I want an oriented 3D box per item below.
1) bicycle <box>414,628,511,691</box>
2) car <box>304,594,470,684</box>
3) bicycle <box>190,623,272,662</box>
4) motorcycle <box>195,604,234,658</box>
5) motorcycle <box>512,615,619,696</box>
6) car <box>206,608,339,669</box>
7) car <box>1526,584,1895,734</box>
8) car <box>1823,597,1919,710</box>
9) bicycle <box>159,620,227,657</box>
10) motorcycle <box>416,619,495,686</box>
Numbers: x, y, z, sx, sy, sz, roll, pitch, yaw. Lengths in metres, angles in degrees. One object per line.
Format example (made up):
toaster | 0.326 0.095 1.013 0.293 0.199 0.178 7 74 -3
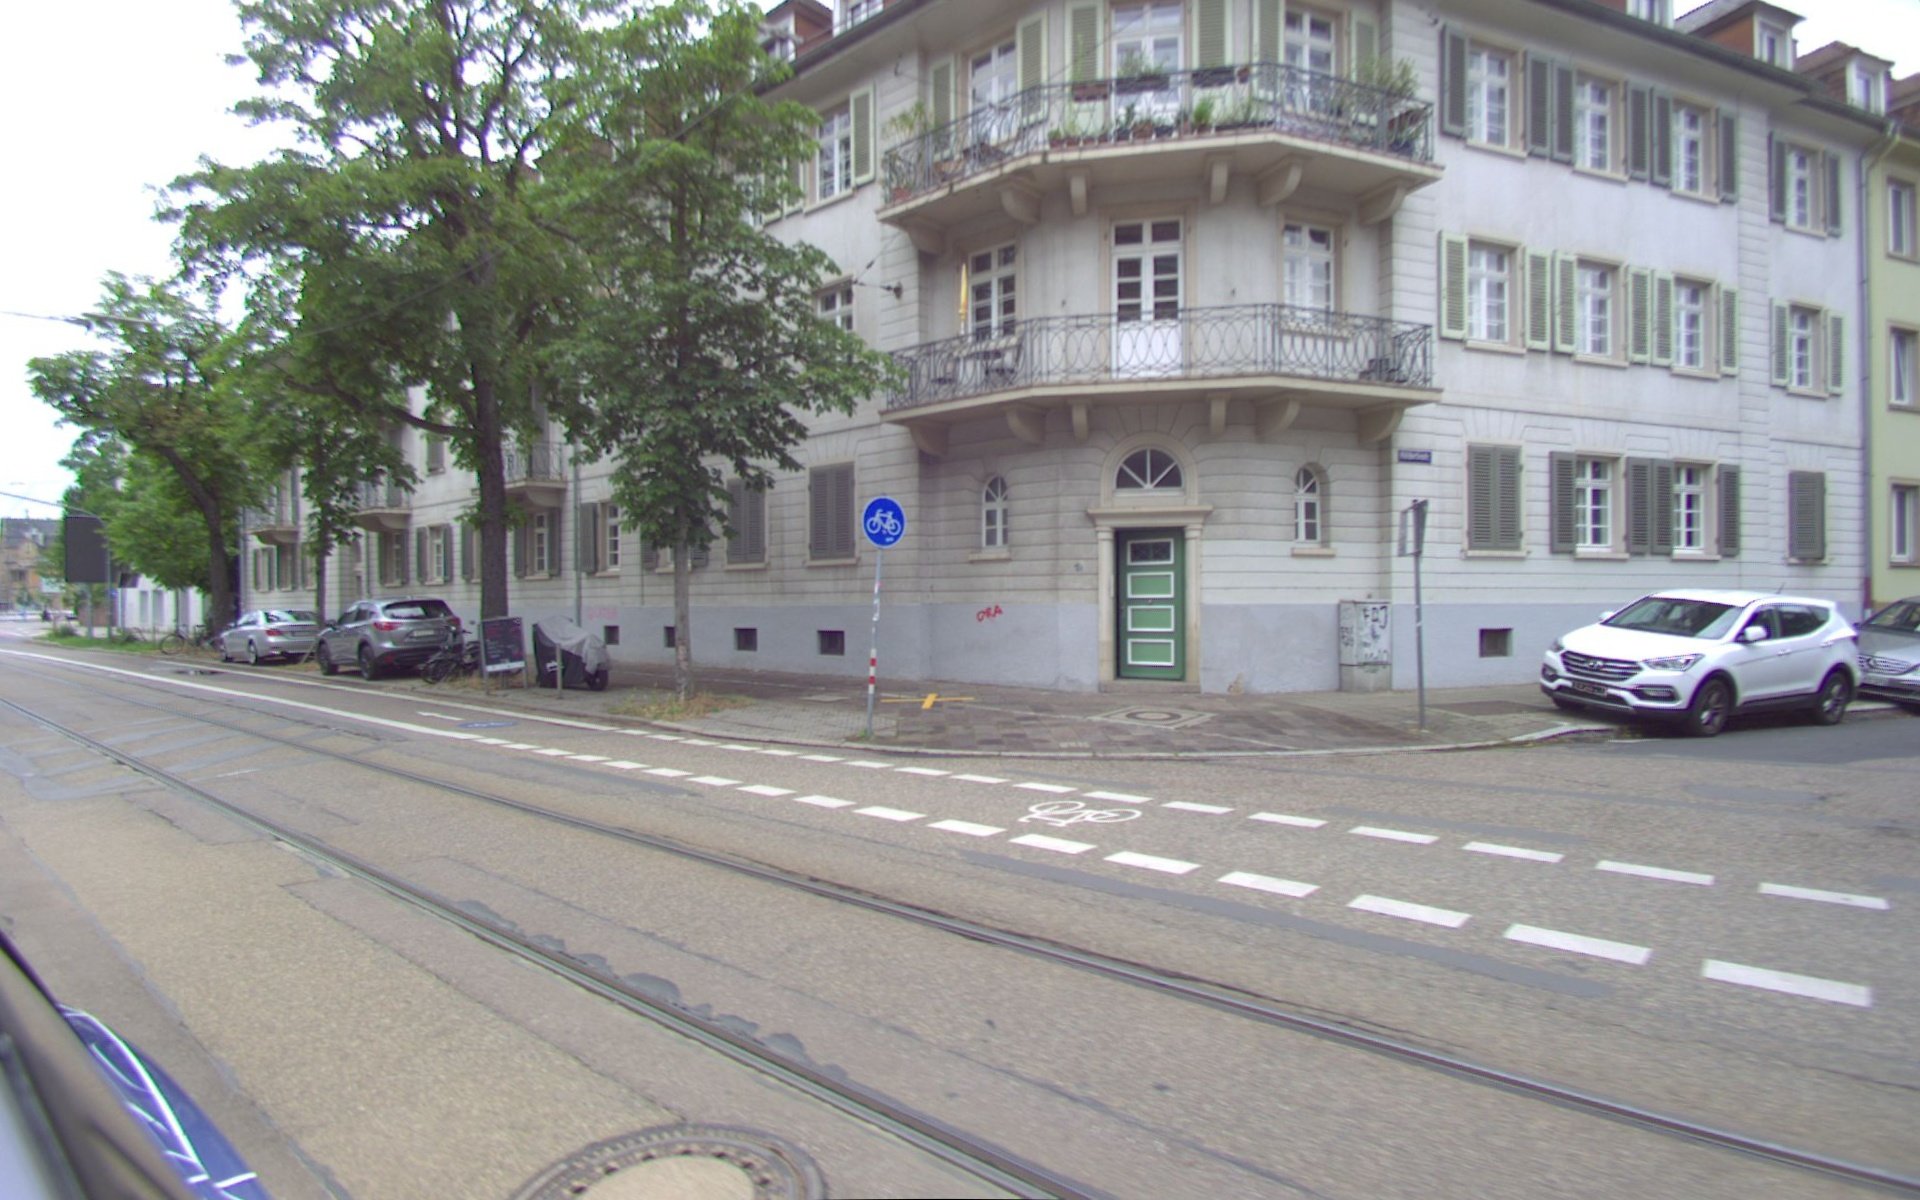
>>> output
bicycle | -9.334 1.095 19.002 0.930 1.012 1.360 -1 2 45
car | -12.433 0.790 21.843 4.292 1.673 1.818 -1 2 42
bicycle | -21.535 1.242 29.931 0.563 1.035 1.877 -1 1 36
motorcycle | -23.939 0.963 32.463 0.822 1.655 2.484 0 0 -41
motorcycle | -6.706 0.913 17.159 2.137 1.267 0.535 -1 3 35
car | -18.536 0.988 27.217 4.611 1.477 1.793 -1 0 41
car | 9.797 0.659 13.199 4.438 1.675 1.945 0 0 -25
car | 15.348 0.754 15.386 3.978 1.524 1.744 -1 2 -22
bicycle | -25.583 1.267 33.792 1.718 1.137 0.519 -3 1 -31
motorcycle | -9.901 1.008 19.877 1.270 1.231 0.548 -2 1 -43
